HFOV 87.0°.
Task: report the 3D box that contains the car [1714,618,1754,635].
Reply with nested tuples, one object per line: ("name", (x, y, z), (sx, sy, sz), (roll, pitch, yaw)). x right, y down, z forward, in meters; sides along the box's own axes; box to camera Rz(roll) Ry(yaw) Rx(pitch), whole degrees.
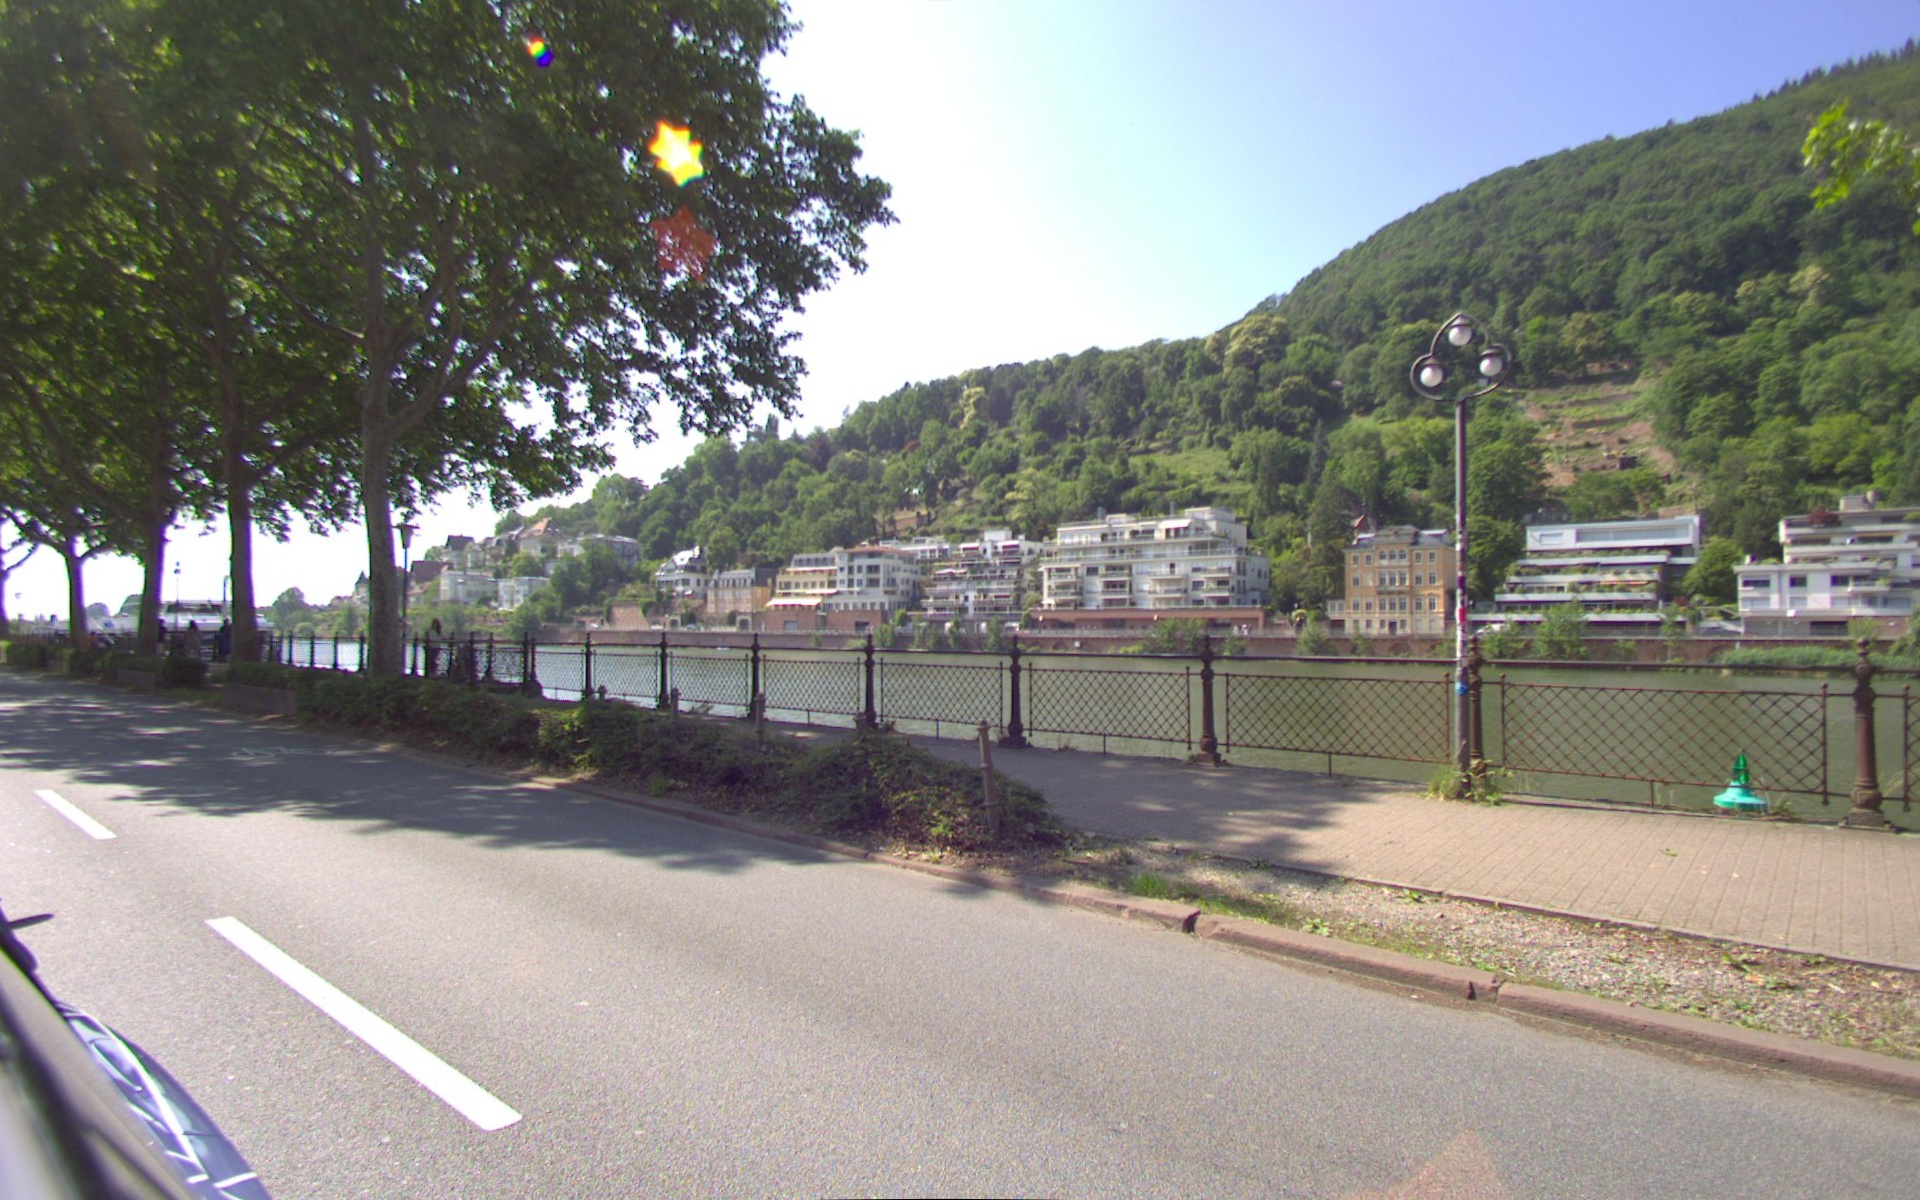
("car", (100.740, 3.433, 131.791), (3.998, 2.029, 1.973), (-1, 0, 41))

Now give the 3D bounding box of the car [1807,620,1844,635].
("car", (125.940, 4.030, 147.350), (3.998, 2.029, 1.973), (-4, -2, 41))

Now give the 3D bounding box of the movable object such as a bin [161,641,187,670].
("movable object such as a bin", (-30.146, 2.138, 38.828), (0.783, 1.057, 0.694), (-1, 0, 44))

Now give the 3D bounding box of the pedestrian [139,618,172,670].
("pedestrian", (-29.693, 1.625, 37.371), (0.928, 1.863, 0.796), (-1, 0, 41))

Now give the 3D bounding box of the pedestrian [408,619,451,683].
("pedestrian", (-15.154, 1.456, 28.912), (0.829, 1.771, 0.767), (-2, -4, 40))

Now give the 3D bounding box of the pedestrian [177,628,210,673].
("pedestrian", (-29.151, 1.913, 38.477), (0.885, 1.647, 1.060), (0, 0, -44))

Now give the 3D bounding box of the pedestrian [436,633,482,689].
("pedestrian", (-12.704, 1.541, 25.674), (0.770, 1.398, 0.758), (-2, -3, 40))

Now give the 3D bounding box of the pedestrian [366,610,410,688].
("pedestrian", (-14.333, 1.220, 25.351), (0.756, 1.915, 0.771), (3, -4, -42))

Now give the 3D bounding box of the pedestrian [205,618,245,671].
("pedestrian", (-29.341, 1.764, 40.429), (1.032, 2.029, 1.038), (-1, 0, -19))
